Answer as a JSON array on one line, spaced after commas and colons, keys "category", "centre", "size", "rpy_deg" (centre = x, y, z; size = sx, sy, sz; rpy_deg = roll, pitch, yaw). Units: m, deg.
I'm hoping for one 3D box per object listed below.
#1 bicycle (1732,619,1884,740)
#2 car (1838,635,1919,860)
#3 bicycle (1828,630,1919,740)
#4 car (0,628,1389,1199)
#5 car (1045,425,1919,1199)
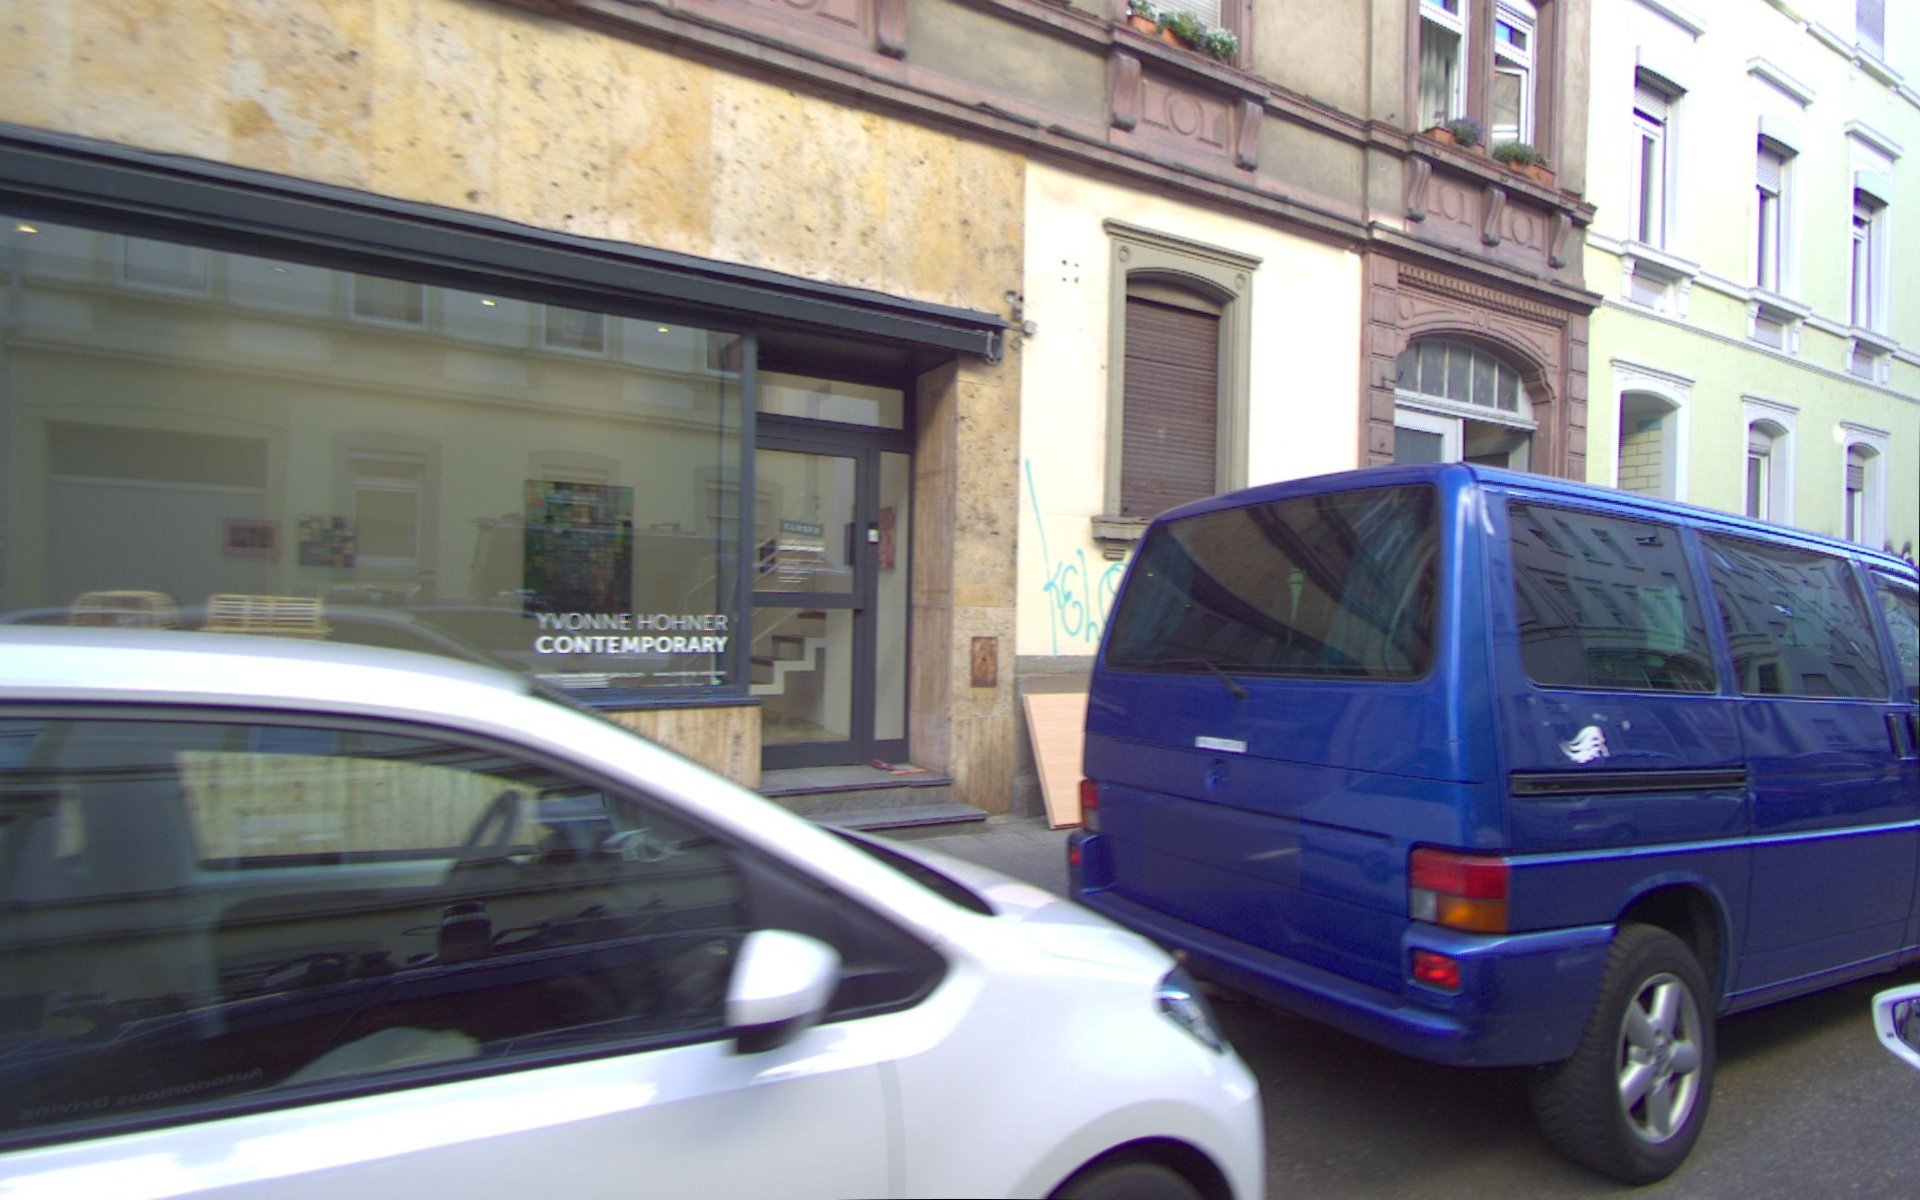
[{"category": "bicycle", "centre": [9.757, 0.873, 11.537], "size": [2.062, 1.288, 0.670], "rpy_deg": [1, 0, -30]}, {"category": "car", "centre": [8.524, 1.002, 7.408], "size": [4.593, 1.459, 1.852], "rpy_deg": [1, -1, -32]}, {"category": "bicycle", "centre": [12.085, 1.050, 12.897], "size": [2.300, 1.262, 0.664], "rpy_deg": [1, 2, -31]}, {"category": "car", "centre": [-1.197, 0.793, 1.663], "size": [3.796, 1.466, 1.637], "rpy_deg": [1, -1, -32]}, {"category": "car", "centre": [2.748, 0.646, 4.198], "size": [4.559, 1.916, 1.819], "rpy_deg": [1, -3, -30]}]
